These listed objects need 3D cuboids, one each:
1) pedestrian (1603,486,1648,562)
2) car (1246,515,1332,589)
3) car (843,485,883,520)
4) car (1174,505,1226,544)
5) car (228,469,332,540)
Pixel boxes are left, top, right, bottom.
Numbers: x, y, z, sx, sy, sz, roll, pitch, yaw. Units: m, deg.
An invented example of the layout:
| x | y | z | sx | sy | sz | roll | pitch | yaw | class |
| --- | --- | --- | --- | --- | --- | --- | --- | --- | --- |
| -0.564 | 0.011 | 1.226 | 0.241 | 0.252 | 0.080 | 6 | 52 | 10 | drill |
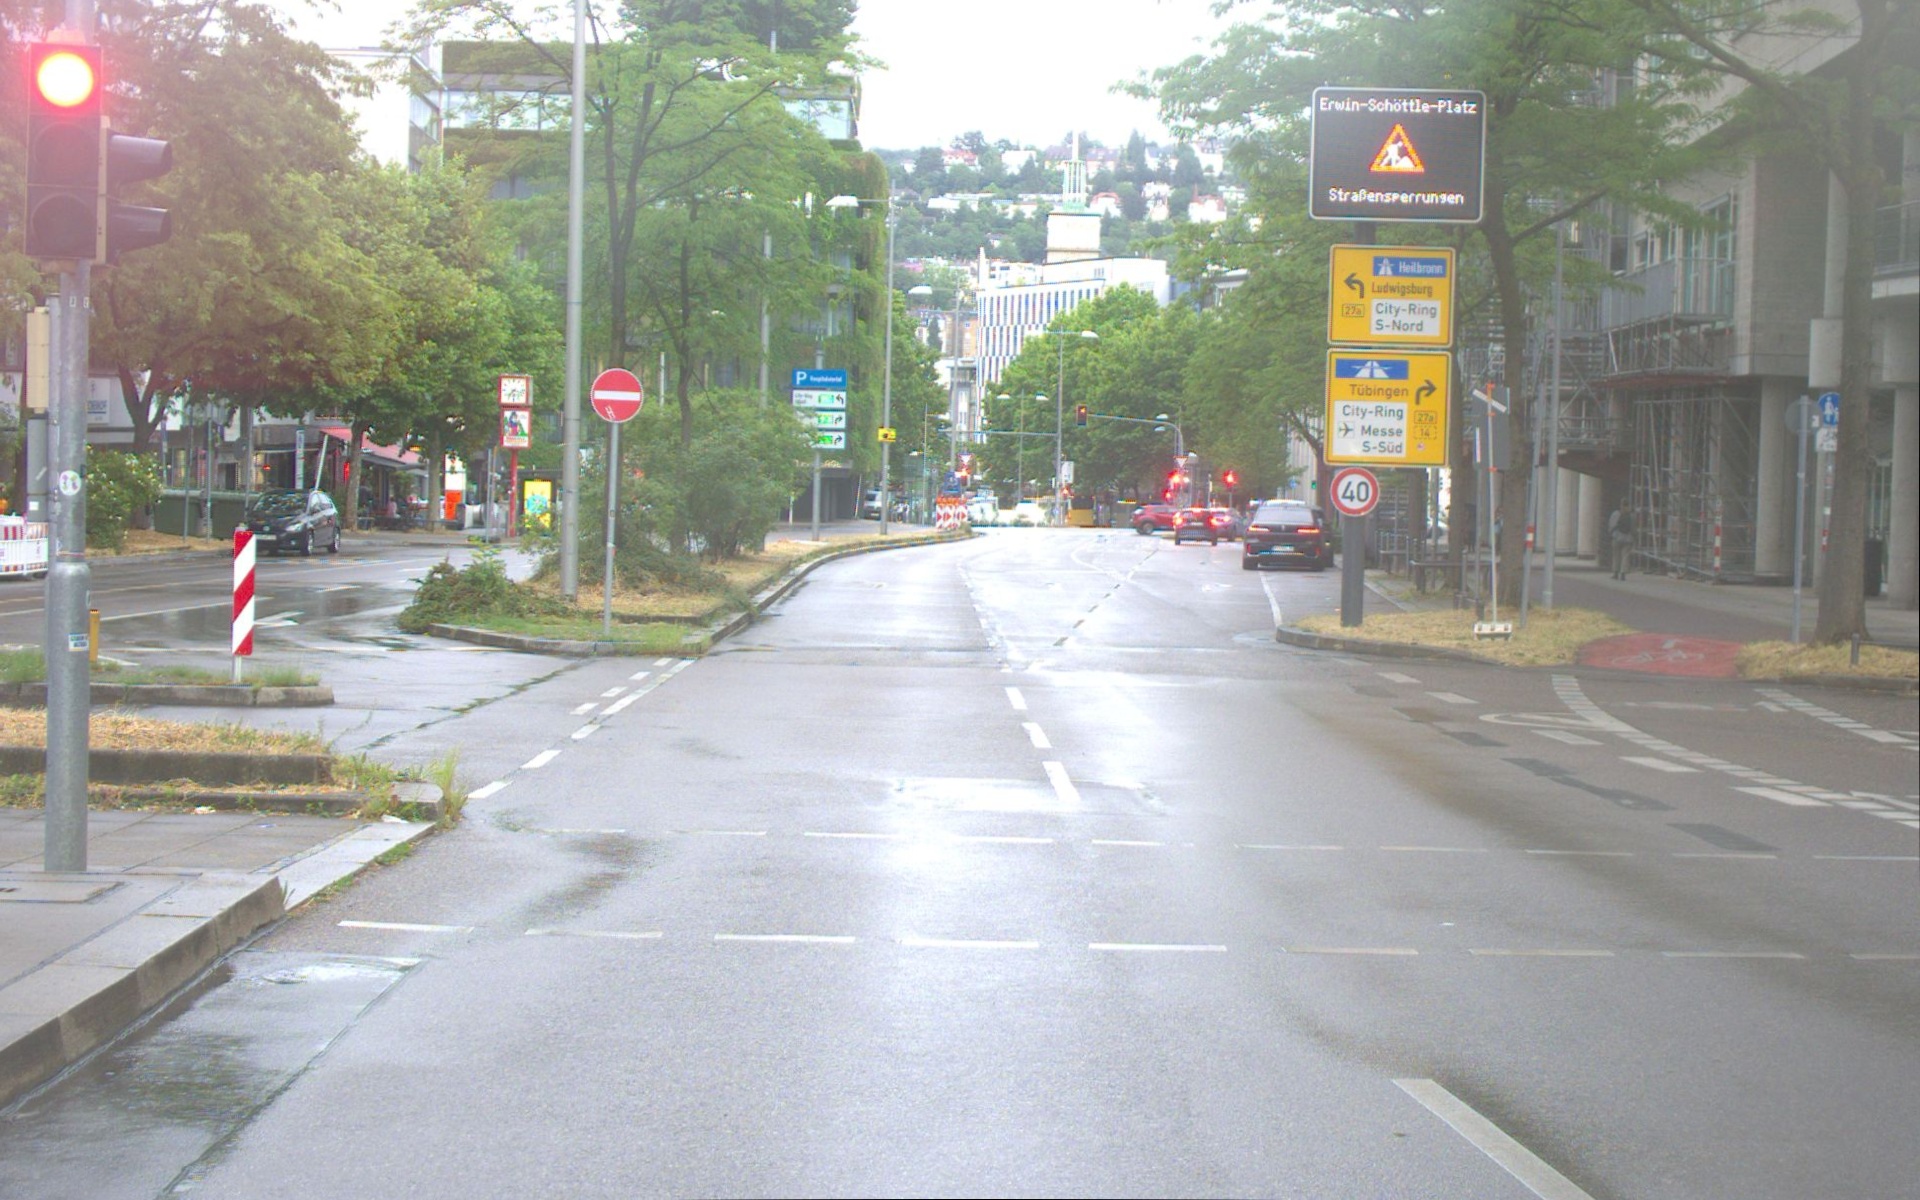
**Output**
| x | y | z | sx | sy | sz | roll | pitch | yaw | class |
| --- | --- | --- | --- | --- | --- | --- | --- | --- | --- |
| 13.892 | -1.590 | 71.778 | 0.786 | 1.552 | 0.532 | 2 | 1 | 4 | pedestrian |
| 7.977 | -1.175 | 83.572 | 1.901 | 1.678 | 3.910 | 2 | 1 | 4 | car |
| -6.307 | -6.351 | 223.951 | 2.128 | 2.157 | 5.197 | 2 | 1 | 2 | car |
| 9.881 | -3.103 | 141.777 | 1.746 | 1.514 | 4.107 | 2 | 1 | -1 | car |
| -16.465 | -2.329 | 83.340 | 1.780 | 1.550 | 3.894 | 2 | 3 | -1 | car |
